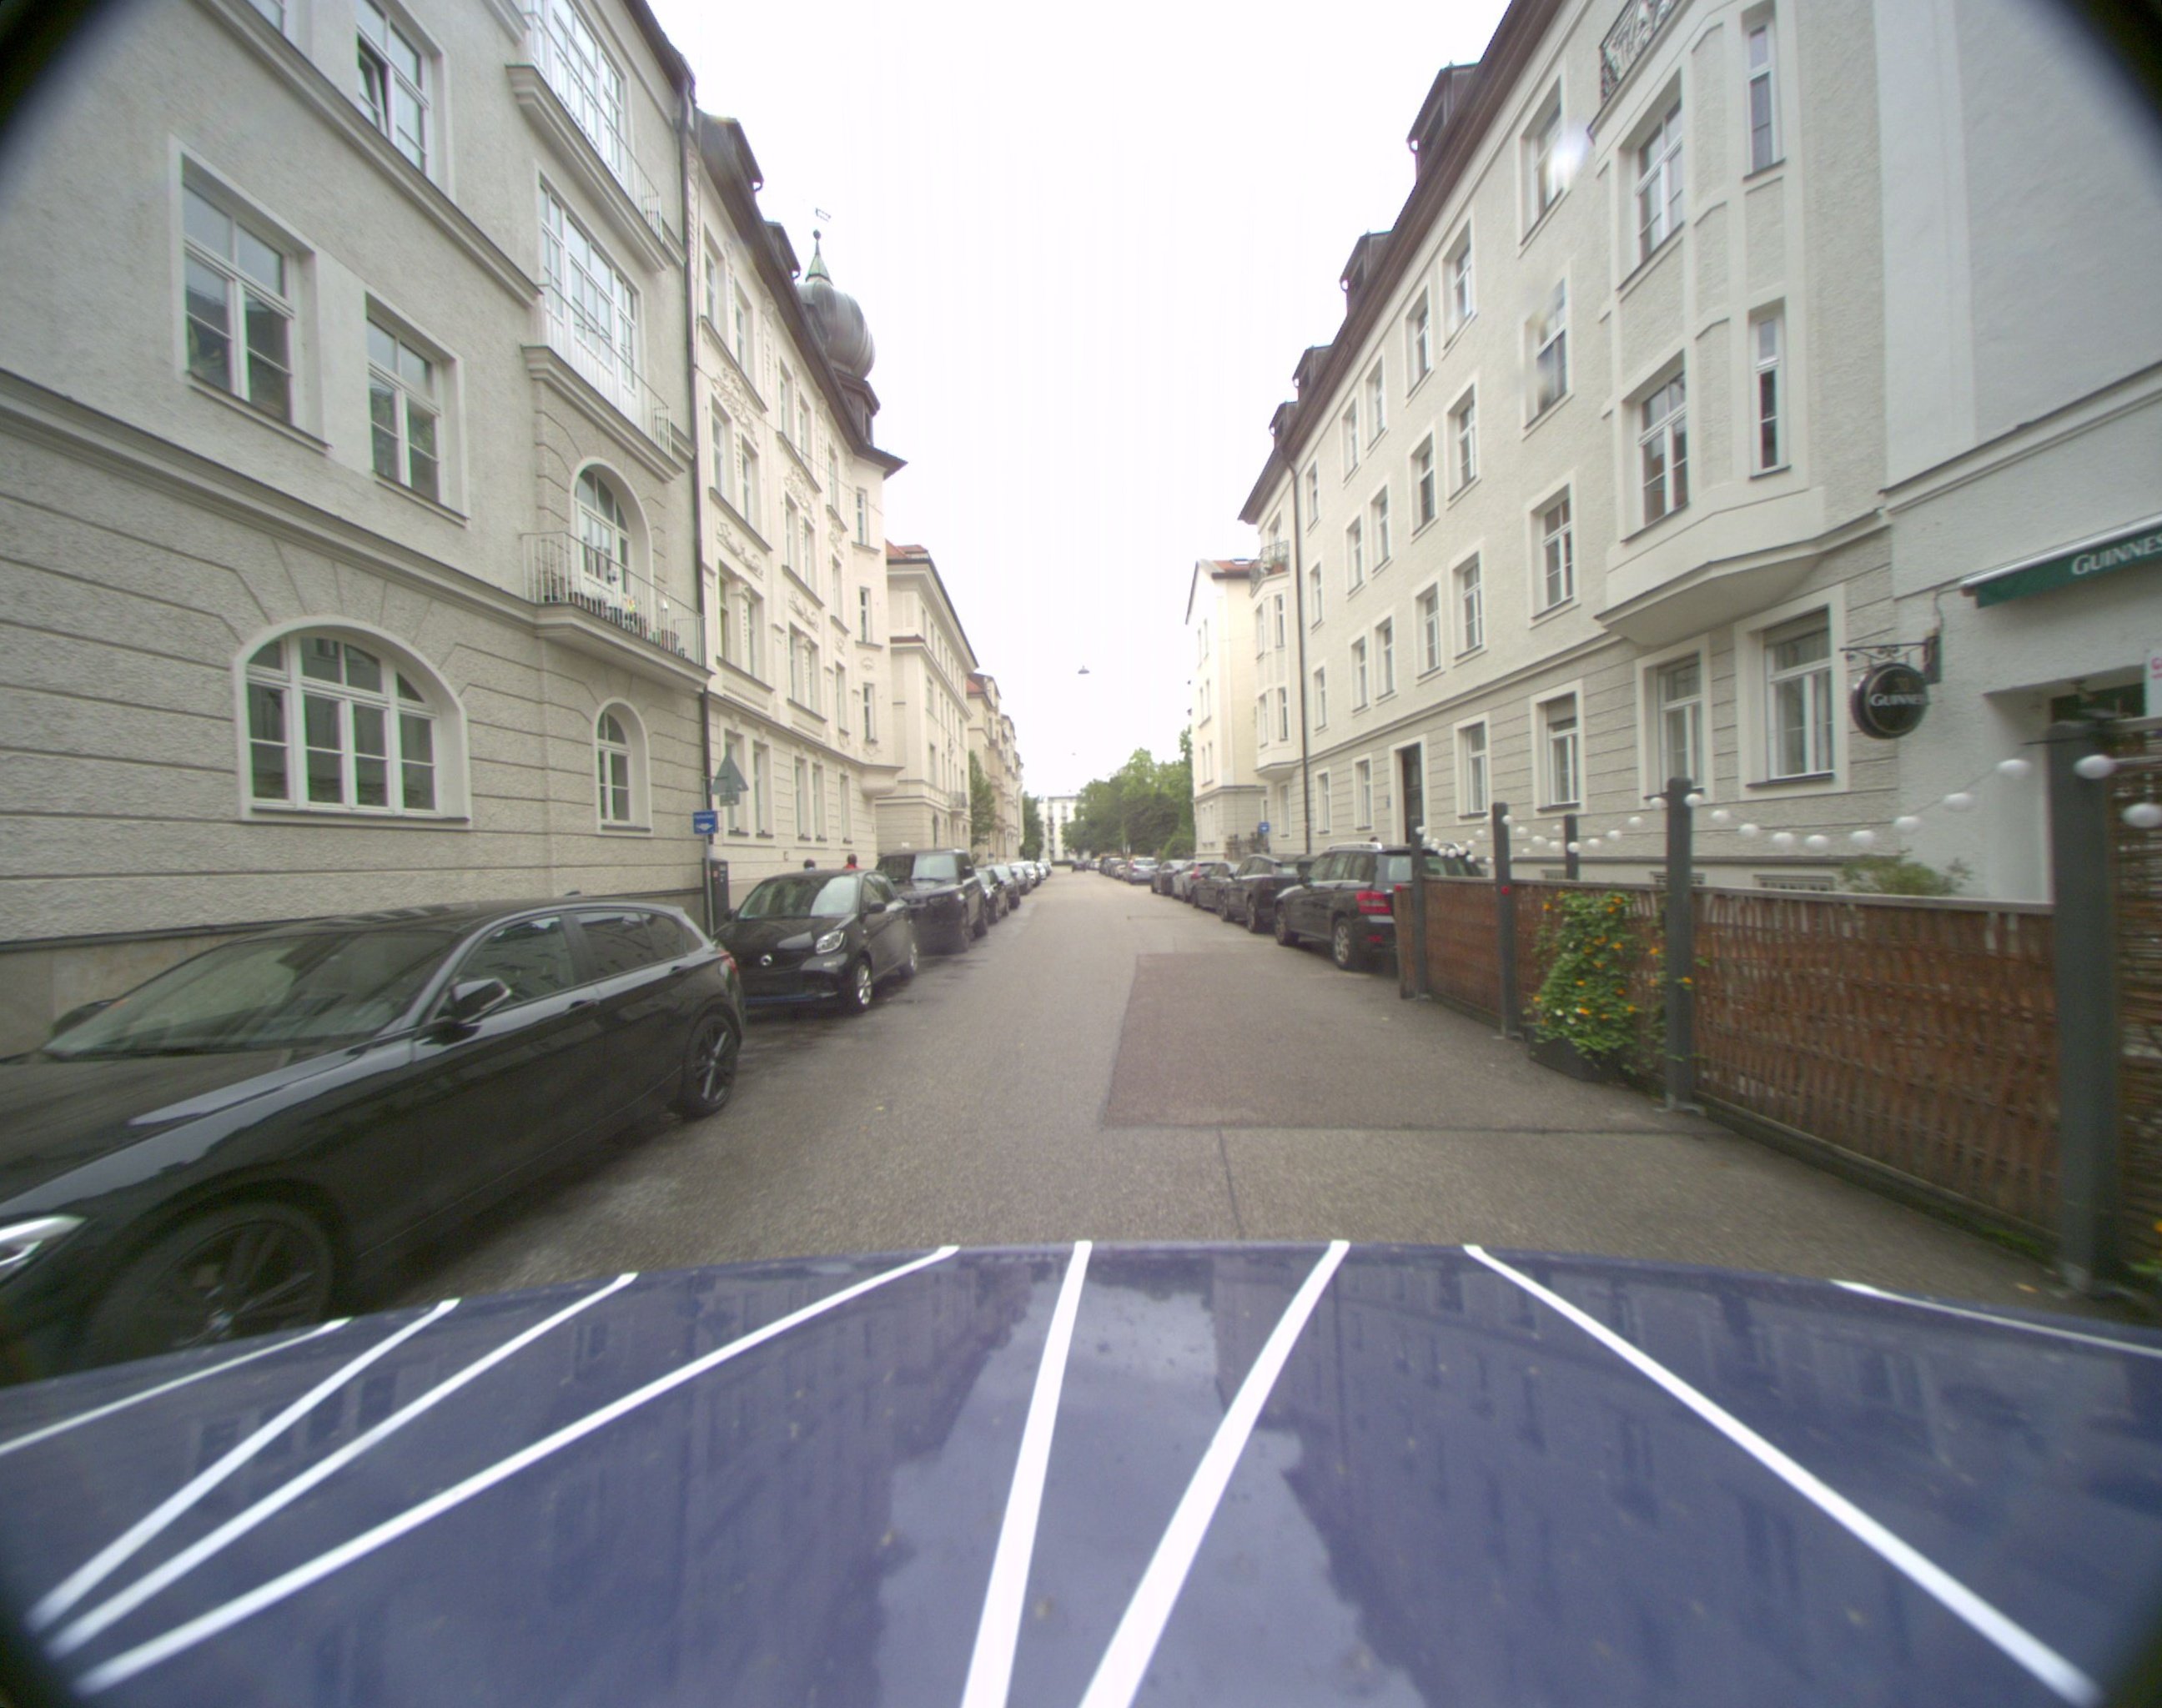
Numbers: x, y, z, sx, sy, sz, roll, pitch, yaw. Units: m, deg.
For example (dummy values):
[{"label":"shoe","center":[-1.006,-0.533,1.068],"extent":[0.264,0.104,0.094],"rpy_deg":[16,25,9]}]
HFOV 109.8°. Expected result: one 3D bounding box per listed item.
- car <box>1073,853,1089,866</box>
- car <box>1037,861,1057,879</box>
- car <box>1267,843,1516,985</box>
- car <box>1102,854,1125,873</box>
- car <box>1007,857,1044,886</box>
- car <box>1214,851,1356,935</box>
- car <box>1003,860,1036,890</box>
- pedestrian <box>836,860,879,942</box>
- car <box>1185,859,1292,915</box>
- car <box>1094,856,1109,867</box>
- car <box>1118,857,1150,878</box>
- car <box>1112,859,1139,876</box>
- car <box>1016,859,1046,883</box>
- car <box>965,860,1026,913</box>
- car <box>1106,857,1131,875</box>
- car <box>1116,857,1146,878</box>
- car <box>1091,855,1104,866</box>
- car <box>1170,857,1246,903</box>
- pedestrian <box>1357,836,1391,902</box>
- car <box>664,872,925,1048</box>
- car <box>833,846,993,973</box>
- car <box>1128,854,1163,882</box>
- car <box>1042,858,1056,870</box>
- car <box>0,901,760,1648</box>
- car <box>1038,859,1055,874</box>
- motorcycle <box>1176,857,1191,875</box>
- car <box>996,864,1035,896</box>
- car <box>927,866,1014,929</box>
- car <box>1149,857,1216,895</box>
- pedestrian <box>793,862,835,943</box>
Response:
[{"label":"car","center":[0.002,0.678,96.341],"extent":[1.729,1.525,4.084],"rpy_deg":[-4,1,-3]},{"label":"car","center":[-3.065,1.428,68.185],"extent":[1.667,1.498,4.063],"rpy_deg":[-3,-1,-3]},{"label":"car","center":[4.205,0.725,11.130],"extent":[1.751,1.663,4.275],"rpy_deg":[1,0,-2]},{"label":"car","center":[3.140,0.888,73.921],"extent":[1.811,1.638,4.484],"rpy_deg":[-4,0,-2]},{"label":"car","center":[-3.399,1.066,47.206],"extent":[1.900,1.626,4.391],"rpy_deg":[-2,-1,0]},{"label":"car","center":[4.094,0.719,16.000],"extent":[1.746,1.478,4.180],"rpy_deg":[-2,0,-1]},{"label":"car","center":[-3.420,1.123,42.803],"extent":[1.713,1.492,3.998],"rpy_deg":[-3,0,-4]},{"label":"pedestrian","center":[-4.806,1.001,16.383],"extent":[0.705,1.718,0.703],"rpy_deg":[-1,0,-3]},{"label":"car","center":[4.306,0.859,21.517],"extent":[1.816,1.377,4.442],"rpy_deg":[-1,0,-4]},{"label":"car","center":[2.864,0.979,106.635],"extent":[1.705,1.483,3.955],"rpy_deg":[-1,0,-3]},{"label":"car","center":[3.558,0.880,51.630],"extent":[1.649,1.395,3.999],"rpy_deg":[0,0,-3]},{"label":"car","center":[3.678,1.090,63.559],"extent":[1.740,1.357,4.191],"rpy_deg":[0,0,-4]},{"label":"car","center":[-3.430,1.135,52.900],"extent":[1.753,1.516,4.170],"rpy_deg":[-2,0,-1]},{"label":"car","center":[-2.869,1.042,26.088],"extent":[1.712,1.578,3.999],"rpy_deg":[-4,0,-3]},{"label":"car","center":[3.311,1.076,68.261],"extent":[1.773,1.412,3.998],"rpy_deg":[-2,1,-3]},{"label":"car","center":[3.664,0.975,56.313],"extent":[1.802,1.426,4.079],"rpy_deg":[-2,0,-1]},{"label":"car","center":[2.378,0.950,111.704],"extent":[1.705,1.552,3.929],"rpy_deg":[-1,0,-3]},{"label":"car","center":[4.291,0.837,26.299],"extent":[1.799,1.411,4.510],"rpy_deg":[1,0,-1]},{"label":"pedestrian","center":[7.781,0.389,20.173],"extent":[0.663,1.697,0.701],"rpy_deg":[-2,1,32]},{"label":"car","center":[-3.091,1.049,9.026],"extent":[1.659,1.516,3.637],"rpy_deg":[-3,0,0]},{"label":"car","center":[-2.940,0.881,14.406],"extent":[1.916,1.874,4.713],"rpy_deg":[-4,0,-1]},{"label":"car","center":[3.817,0.808,45.510],"extent":[1.701,1.571,4.061],"rpy_deg":[0,0,-1]},{"label":"car","center":[-4.362,1.345,103.958],"extent":[1.715,1.462,4.084],"rpy_deg":[-3,0,-4]},{"label":"car","center":[-3.230,1.083,3.249],"extent":[1.710,1.462,4.202],"rpy_deg":[-2,0,3]},{"label":"car","center":[-3.788,1.344,83.149],"extent":[1.646,1.409,4.000],"rpy_deg":[-3,0,0]},{"label":"motorcycle","center":[7.509,0.840,55.689],"extent":[0.706,1.242,1.820],"rpy_deg":[-4,1,-2]},{"label":"car","center":[-3.174,1.240,37.420],"extent":[1.616,1.387,3.999],"rpy_deg":[-3,0,-2]},{"label":"car","center":[-2.865,1.099,20.451],"extent":[1.668,1.387,3.582],"rpy_deg":[-4,0,1]},{"label":"car","center":[4.110,0.858,31.571],"extent":[1.855,1.359,4.701],"rpy_deg":[-2,0,-3]},{"label":"pedestrian","center":[-5.596,1.000,15.950],"extent":[0.681,1.664,0.654],"rpy_deg":[0,0,-3]}]
